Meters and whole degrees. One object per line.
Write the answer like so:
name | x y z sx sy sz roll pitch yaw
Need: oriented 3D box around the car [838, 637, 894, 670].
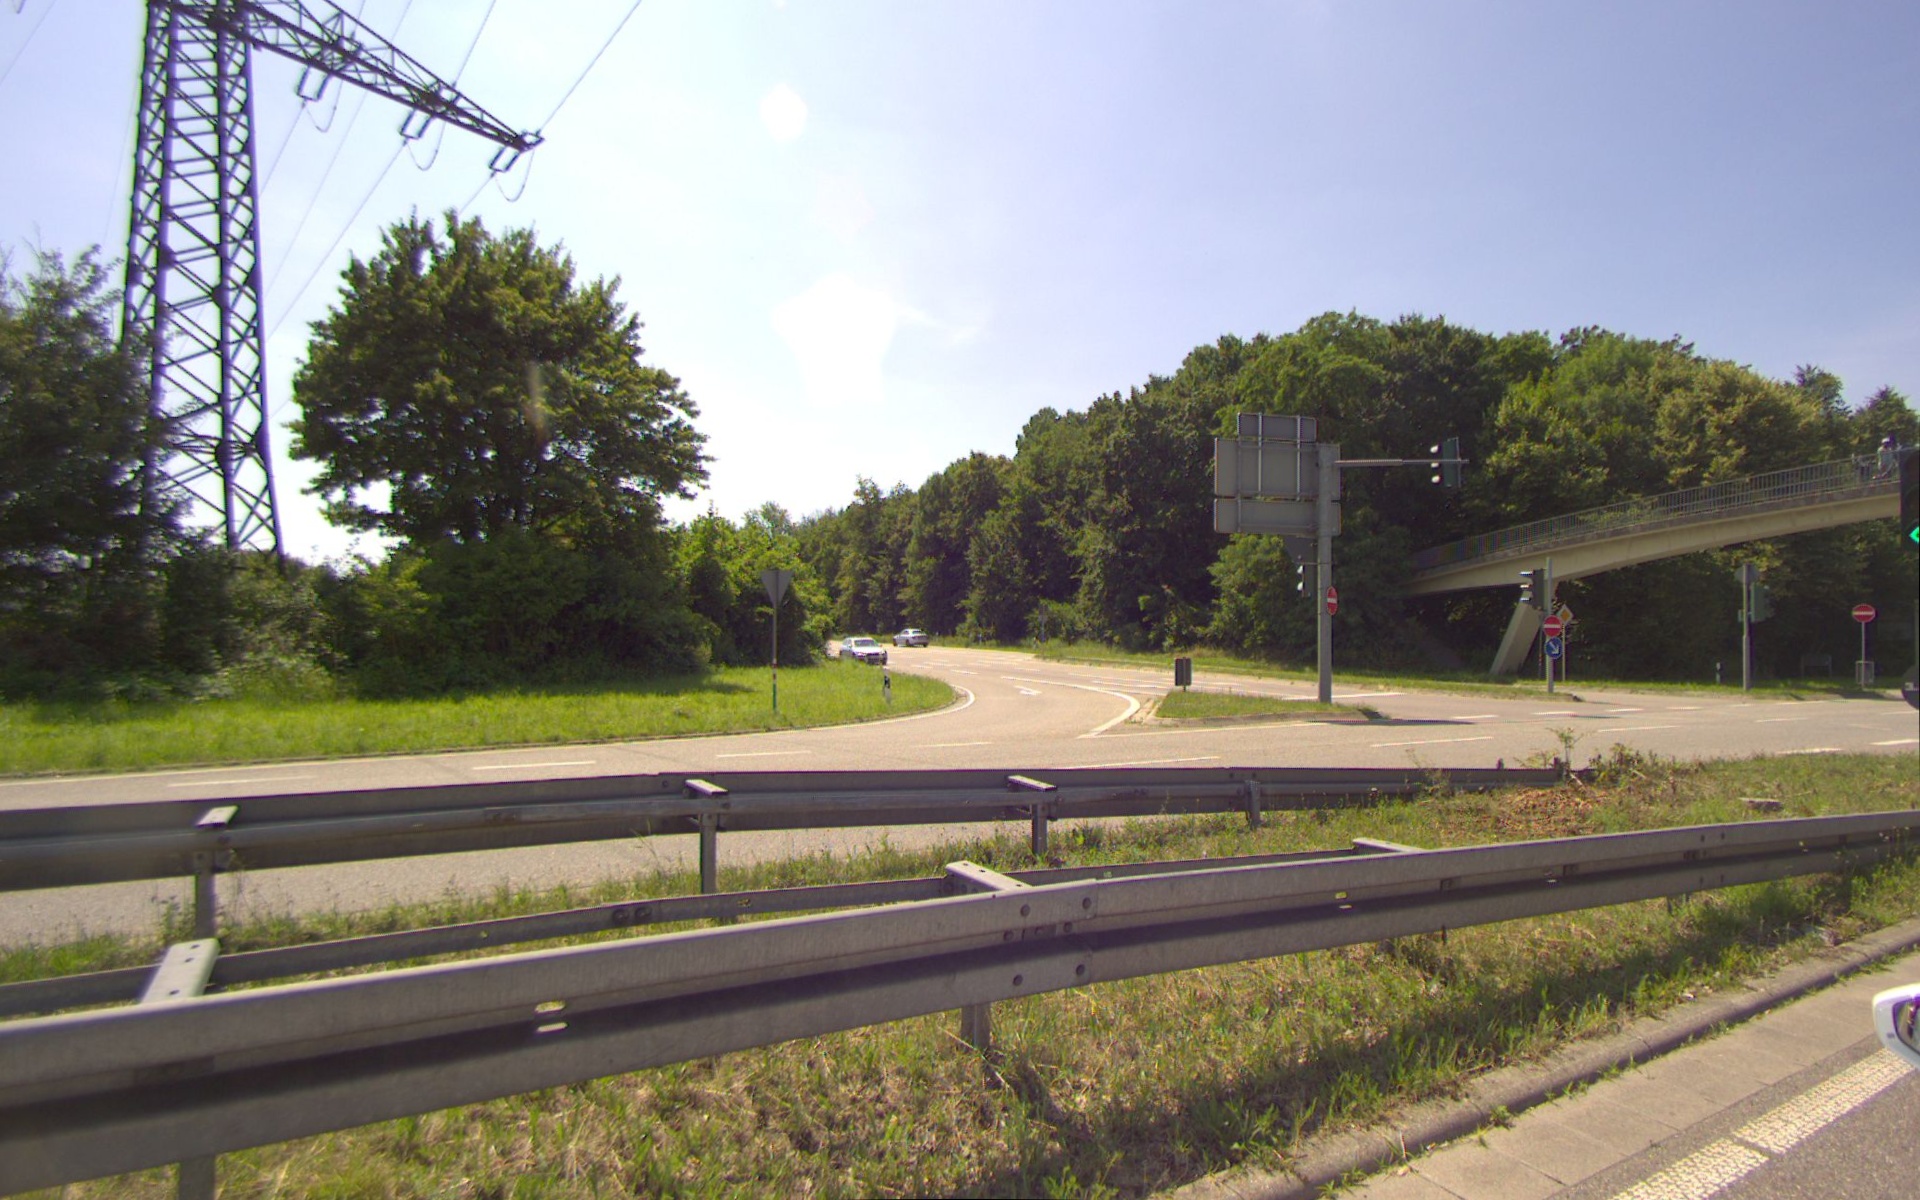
car | -5.210 2.906 55.016 2.017 1.596 4.646 -2 -1 -19

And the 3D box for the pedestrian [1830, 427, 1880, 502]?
pedestrian | 28.355 -4.282 31.835 0.916 2.167 0.783 2 -3 -14

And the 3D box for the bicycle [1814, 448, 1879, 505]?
bicycle | 27.979 -3.886 31.721 0.462 1.493 1.528 2 -4 -14

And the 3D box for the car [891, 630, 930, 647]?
car | -4.207 3.252 84.442 1.970 1.391 4.760 1 -2 -20
